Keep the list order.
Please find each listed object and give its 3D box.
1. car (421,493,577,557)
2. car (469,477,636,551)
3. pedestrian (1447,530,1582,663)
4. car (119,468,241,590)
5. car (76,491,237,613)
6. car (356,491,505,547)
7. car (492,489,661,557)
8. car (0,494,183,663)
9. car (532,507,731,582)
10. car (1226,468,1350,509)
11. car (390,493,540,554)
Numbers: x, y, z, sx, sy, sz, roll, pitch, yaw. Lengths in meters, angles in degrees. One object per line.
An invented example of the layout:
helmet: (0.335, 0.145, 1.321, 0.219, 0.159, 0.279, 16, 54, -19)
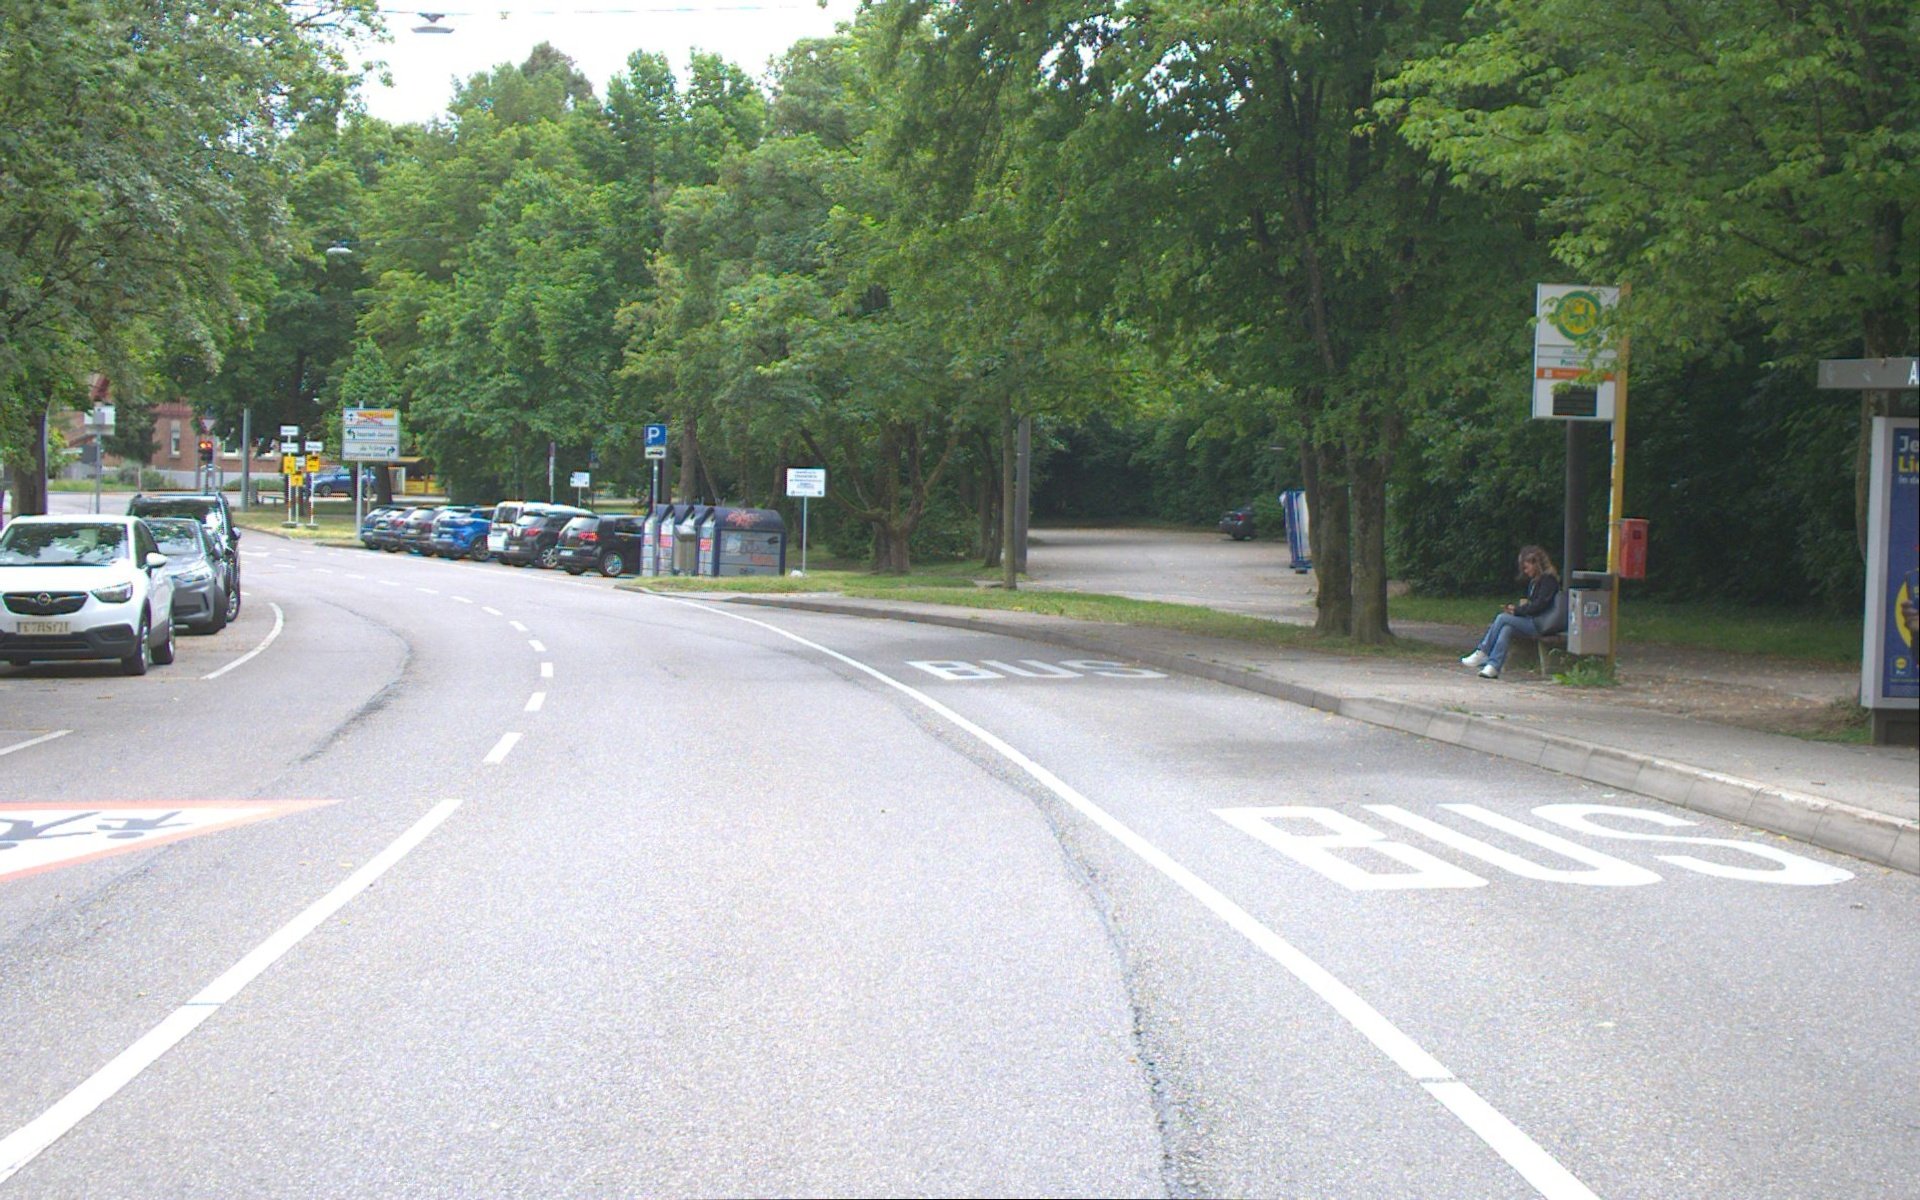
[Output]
car: (-12.611, -2.050, 94.132, 3.819, 1.523, 1.746, 3, 1, -37)
car: (-10.635, -2.246, 89.822, 3.819, 1.714, 1.878, 3, 1, -37)
pedestrian: (5.013, -0.036, 31.094, 1.063, 1.178, 0.580, 0, 2, -9)
car: (-12.702, -1.200, 56.206, 1.857, 1.902, 5.085, 0, 2, -12)
car: (-10.767, -0.683, 46.281, 1.865, 1.532, 4.229, 0, 2, -10)
car: (-15.652, -2.382, 101.661, 3.874, 1.421, 1.830, 3, 1, -37)
car: (-9.711, -1.953, 87.103, 3.819, 1.463, 1.746, 3, 2, -37)
car: (-8.966, -0.268, 34.731, 1.735, 1.573, 4.142, 0, 2, -7)
car: (-7.540, -1.269, 79.103, 3.987, 1.409, 2.058, 3, 3, -37)
car: (11.612, -3.952, 121.717, 3.986, 1.405, 1.801, 0, 2, -12)
car: (-14.225, -2.186, 98.842, 3.819, 1.523, 1.746, 3, 1, -37)
